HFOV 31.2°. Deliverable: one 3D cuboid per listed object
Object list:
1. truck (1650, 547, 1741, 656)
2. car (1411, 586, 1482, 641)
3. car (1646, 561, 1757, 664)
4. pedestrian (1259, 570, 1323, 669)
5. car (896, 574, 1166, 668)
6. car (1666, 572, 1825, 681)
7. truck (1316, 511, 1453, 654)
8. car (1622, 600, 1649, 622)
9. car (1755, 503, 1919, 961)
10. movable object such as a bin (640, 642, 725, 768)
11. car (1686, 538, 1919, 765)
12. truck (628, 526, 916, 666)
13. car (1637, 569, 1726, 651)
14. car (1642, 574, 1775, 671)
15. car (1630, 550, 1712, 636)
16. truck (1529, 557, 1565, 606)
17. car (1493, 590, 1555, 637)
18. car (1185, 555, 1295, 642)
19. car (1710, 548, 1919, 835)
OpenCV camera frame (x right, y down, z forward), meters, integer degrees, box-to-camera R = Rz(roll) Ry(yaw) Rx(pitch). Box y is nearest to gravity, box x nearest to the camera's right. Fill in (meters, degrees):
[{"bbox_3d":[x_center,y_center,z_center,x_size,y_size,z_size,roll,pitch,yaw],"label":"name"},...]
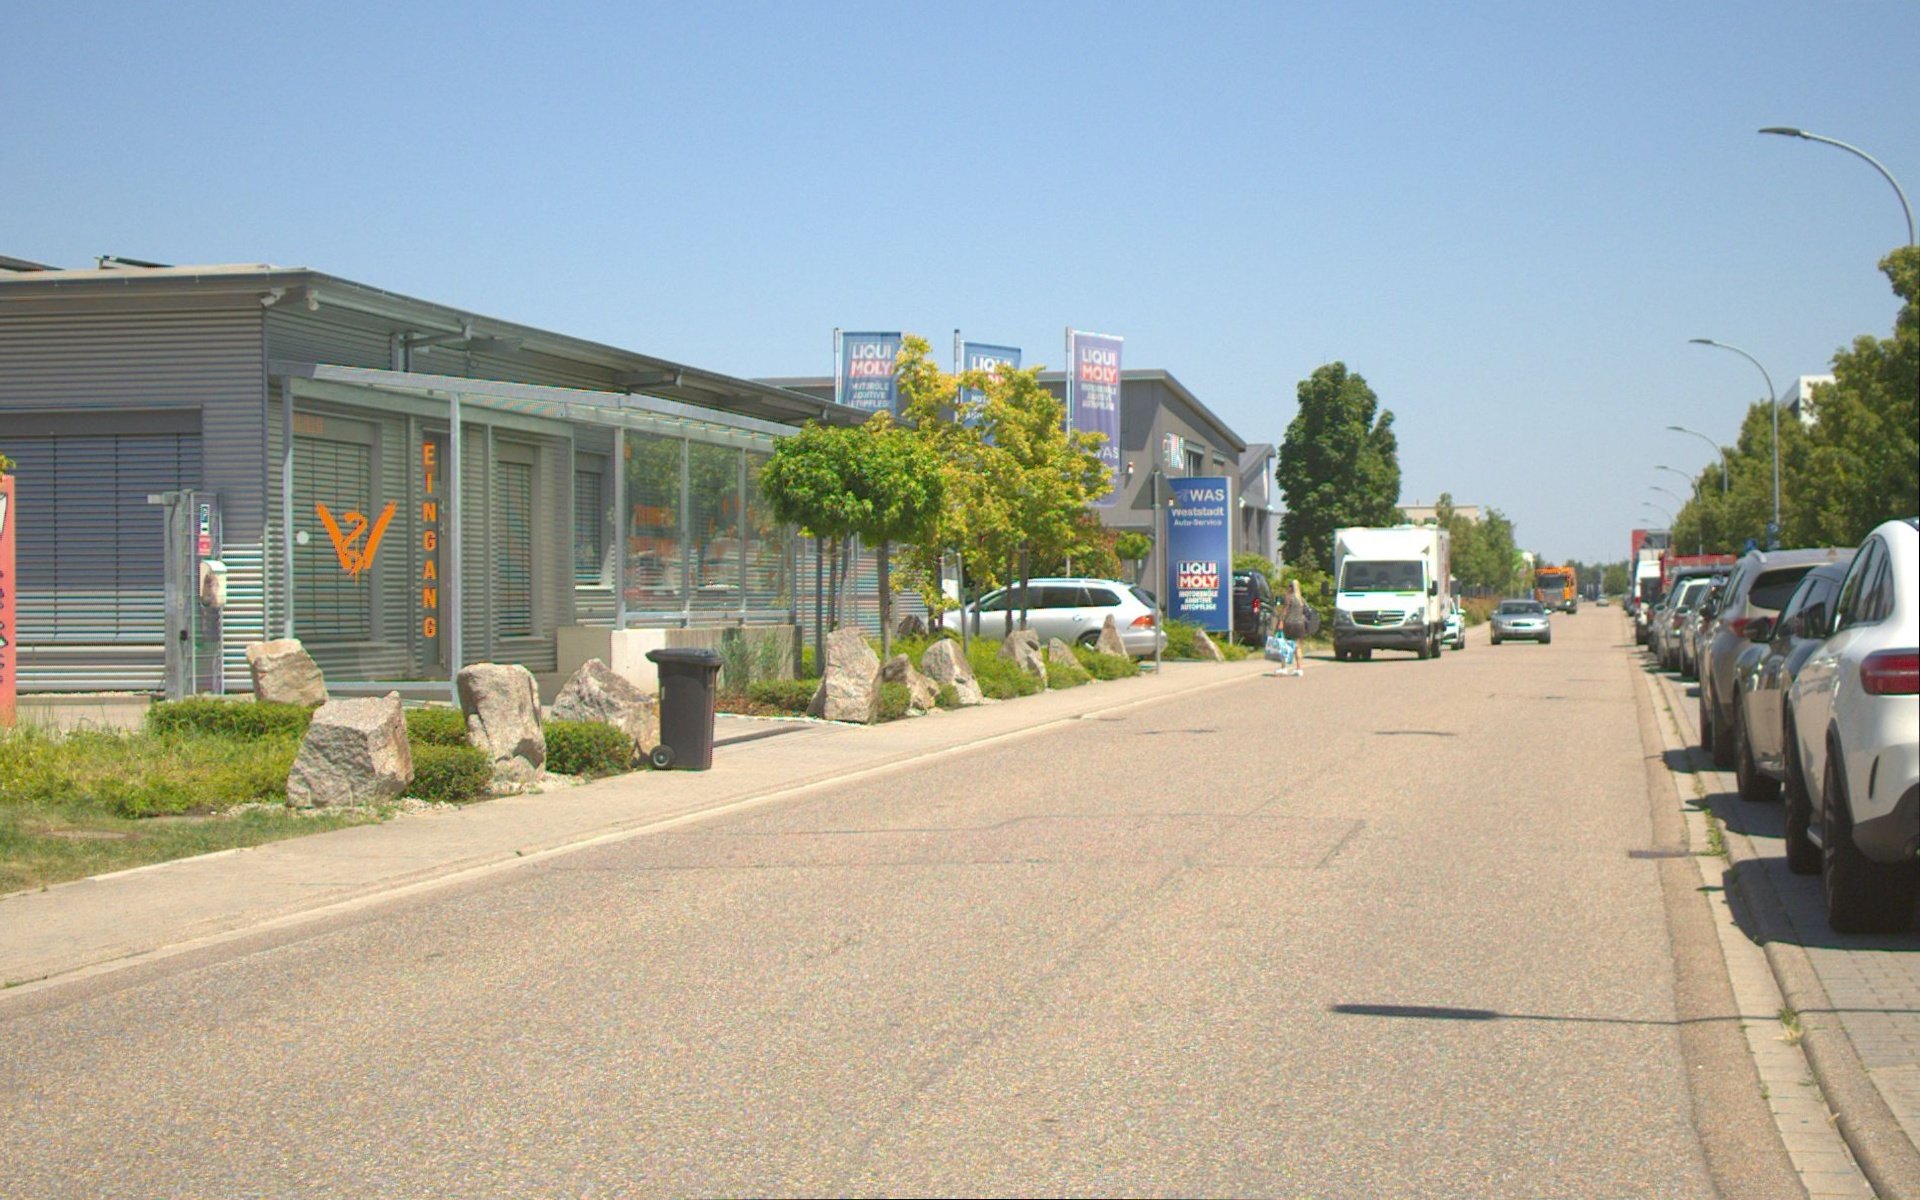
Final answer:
[{"bbox_3d":[15.488,0.040,72.497,1.679,2.174,4.388,-2,-1,10],"label":"truck"},{"bbox_3d":[13.433,0.372,94.756,1.730,1.453,4.489,1,0,11],"label":"car"},{"bbox_3d":[13.201,0.214,61.372,1.812,1.720,4.771,-2,0,11],"label":"car"},{"bbox_3d":[5.360,0.310,55.672,0.899,1.569,0.785,2,0,12],"label":"pedestrian"},{"bbox_3d":[1.203,0.345,57.207,4.264,1.513,1.865,0,0,10],"label":"car"},{"bbox_3d":[11.390,0.367,50.104,1.805,1.478,4.772,-2,0,8],"label":"car"},{"bbox_3d":[9.144,-0.336,73.552,2.362,2.850,6.411,-2,-1,11],"label":"truck"},{"bbox_3d":[42.299,0.690,215.295,1.585,1.405,3.498,0,0,11],"label":"car"},{"bbox_3d":[4.687,0.462,14.949,2.145,1.693,4.783,-2,0,11],"label":"car"},{"bbox_3d":[-2.148,0.807,26.636,0.570,0.946,0.512,1,0,5],"label":"movable object such as a bin"},{"bbox_3d":[6.792,0.373,27.448,1.805,1.630,4.456,-2,0,11],"label":"car"},{"bbox_3d":[-5.108,-0.149,92.099,8.056,3.545,2.580,2,0,40],"label":"truck"},{"bbox_3d":[17.325,0.254,82.738,1.994,1.878,5.153,-1,-1,11],"label":"car"},{"bbox_3d":[12.128,0.350,55.917,1.714,1.478,4.772,-2,0,8],"label":"car"},{"bbox_3d":[21.464,-0.184,103.591,2.269,2.489,6.148,-1,0,13],"label":"car"},{"bbox_3d":[43.433,-1.387,254.402,2.449,3.501,8.268,-1,0,11],"label":"truck"},{"bbox_3d":[18.000,0.442,109.627,1.784,1.417,4.411,-2,-1,11],"label":"car"},{"bbox_3d":[6.549,-0.019,80.007,1.994,1.950,5.215,1,0,11],"label":"car"},{"bbox_3d":[5.718,0.474,20.686,1.904,1.524,4.628,-2,0,7],"label":"car"}]
